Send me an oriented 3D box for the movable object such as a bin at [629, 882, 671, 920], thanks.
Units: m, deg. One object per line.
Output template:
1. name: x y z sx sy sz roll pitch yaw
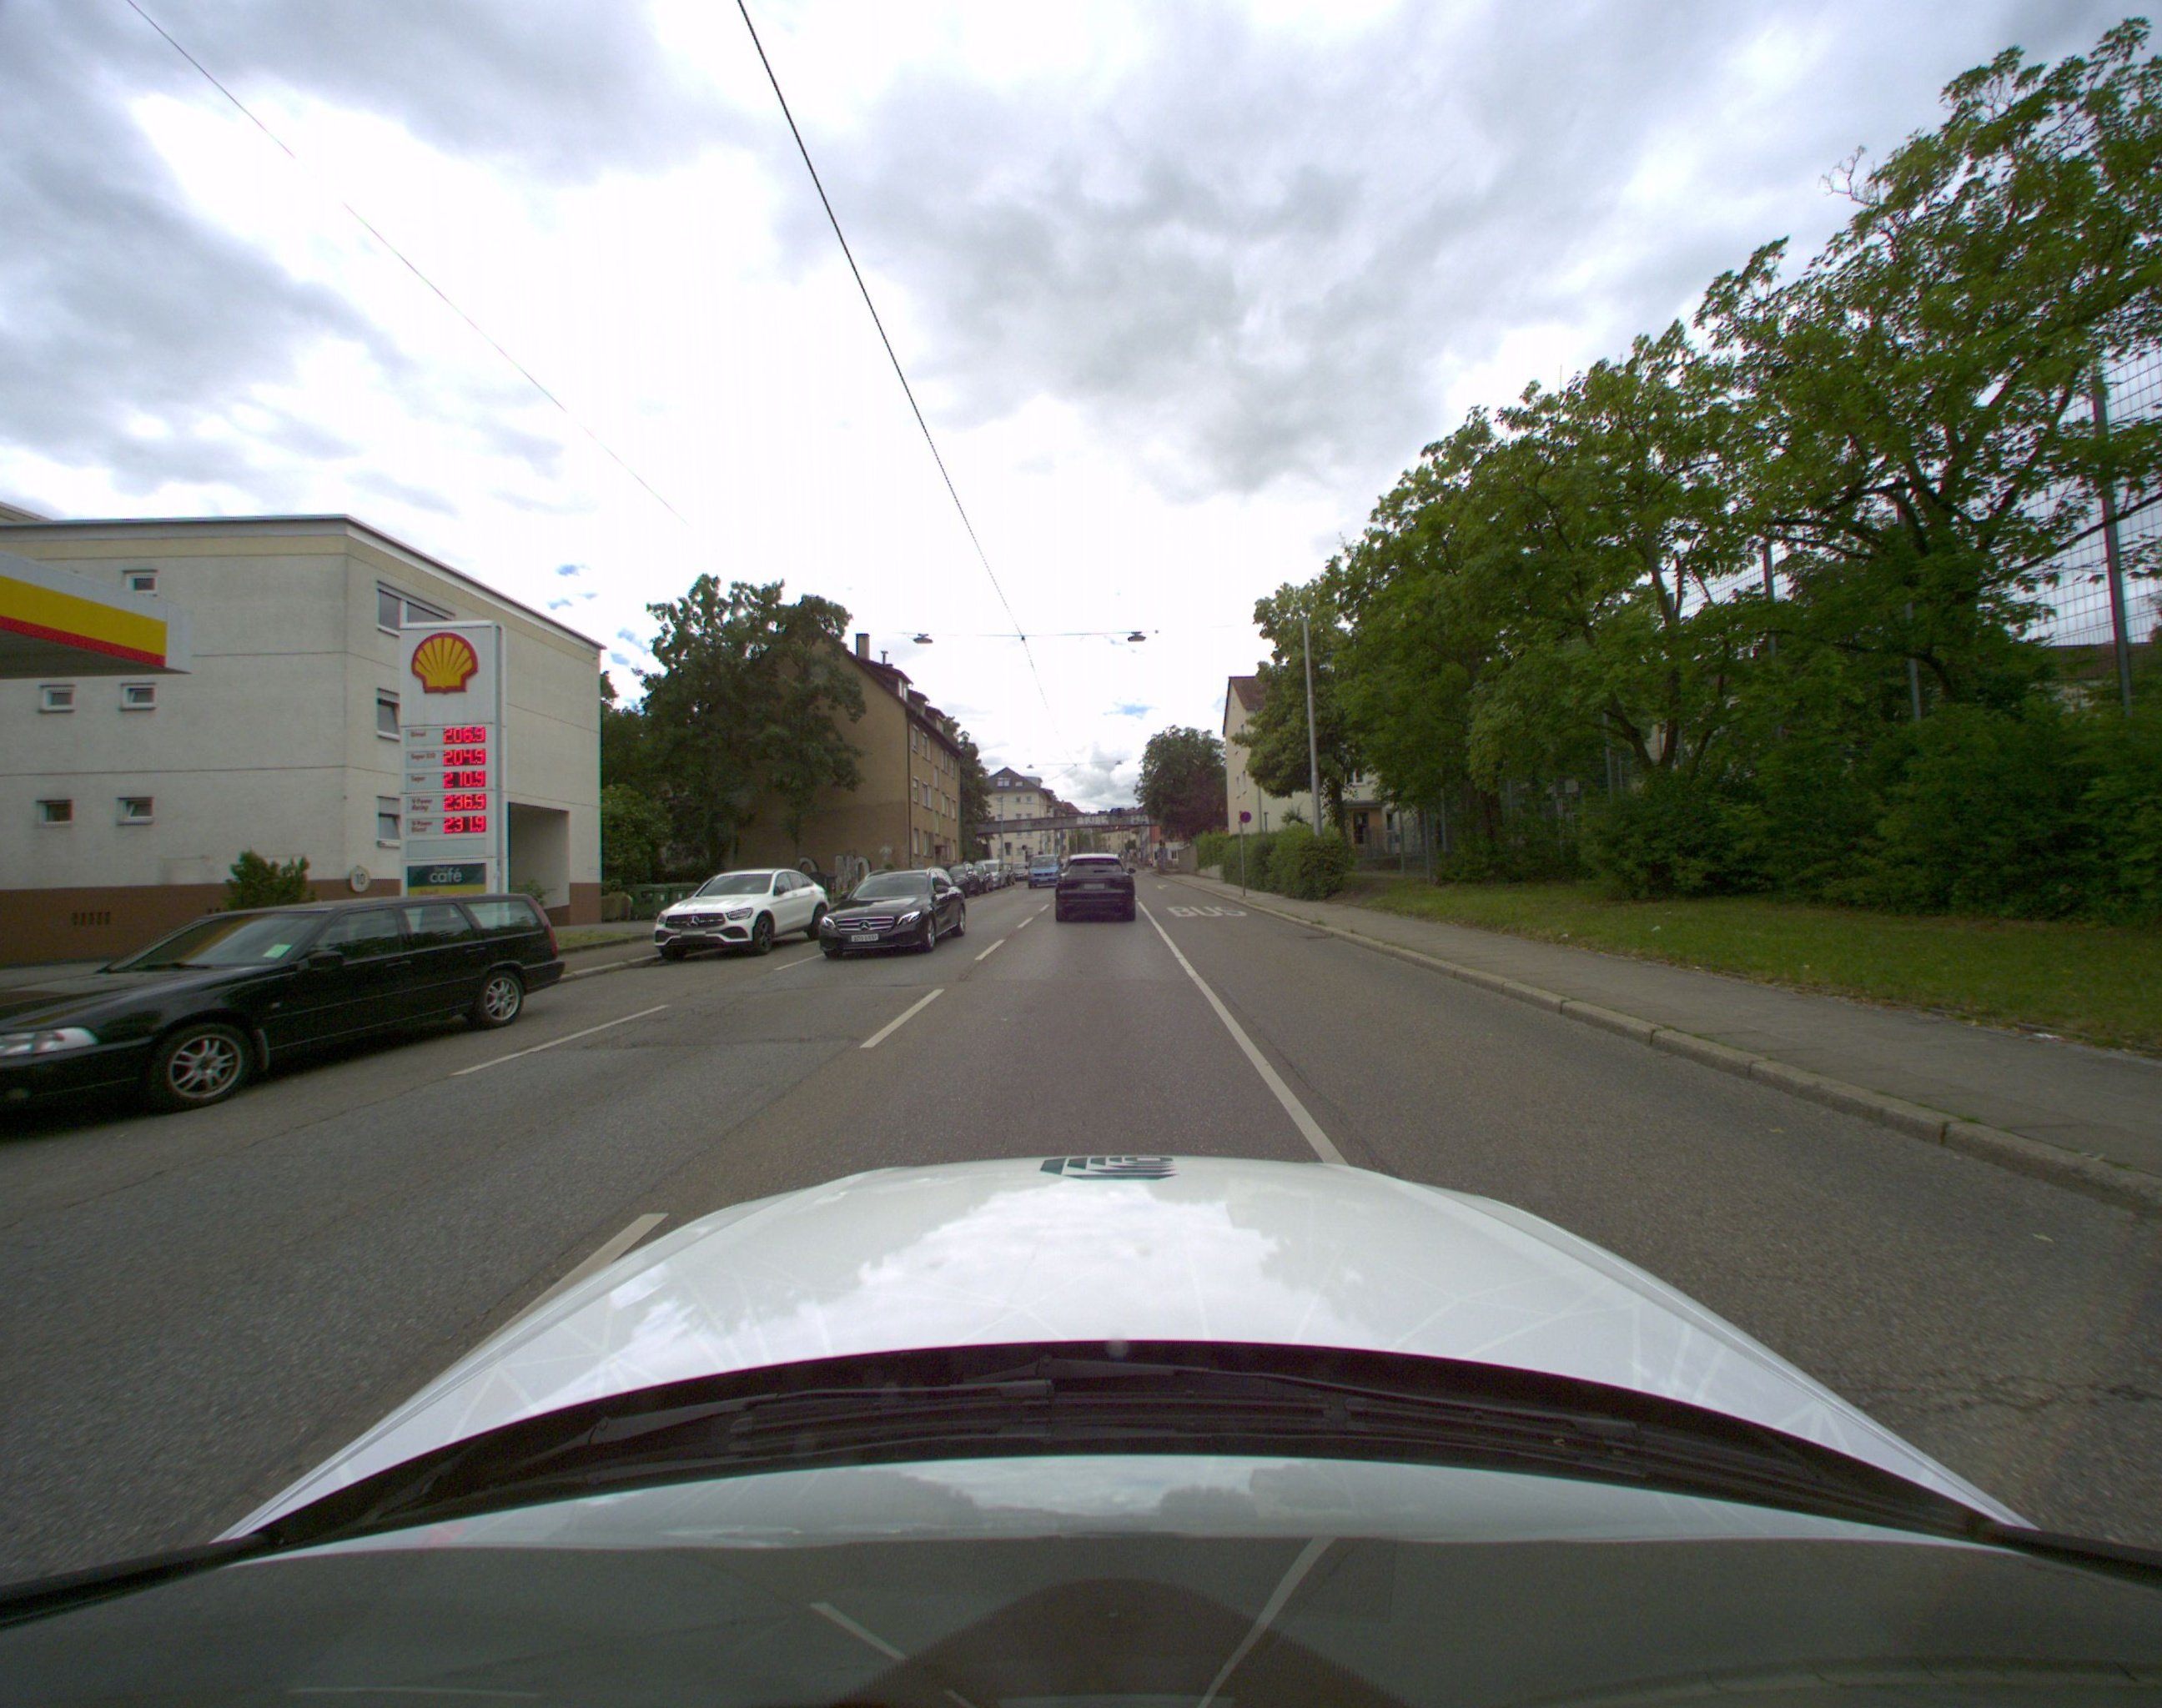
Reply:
1. movable object such as a bin: -17.453 1.898 33.019 0.907 1.428 1.397 -1 0 0

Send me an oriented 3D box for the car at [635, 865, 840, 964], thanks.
1. car: -6.655 1.085 16.459 1.908 1.577 4.702 -3 0 2

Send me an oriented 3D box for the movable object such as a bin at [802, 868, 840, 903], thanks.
1. movable object such as a bin: -11.442 1.374 35.873 1.278 1.428 1.278 -1 0 -3

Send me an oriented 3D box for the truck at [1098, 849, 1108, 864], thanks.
1. truck: 5.212 0.537 192.284 2.258 3.424 9.881 -2 0 2

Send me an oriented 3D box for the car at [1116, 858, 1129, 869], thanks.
1. car: 5.665 1.249 112.290 1.734 1.400 4.002 -1 0 2

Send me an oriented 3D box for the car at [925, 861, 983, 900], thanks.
1. car: -5.930 1.212 38.569 1.775 1.609 4.268 -4 0 3

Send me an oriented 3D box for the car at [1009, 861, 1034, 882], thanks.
1. car: -4.975 1.439 68.348 1.740 1.568 3.907 -3 0 0

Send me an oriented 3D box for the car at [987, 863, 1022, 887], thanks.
1. car: -5.121 1.382 54.841 1.739 1.439 3.914 -3 0 2

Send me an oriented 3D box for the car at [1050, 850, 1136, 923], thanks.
1. car: 0.358 0.753 21.181 1.986 1.662 4.002 -1 0 2

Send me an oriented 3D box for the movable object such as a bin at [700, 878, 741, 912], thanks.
1. movable object such as a bin: -15.959 1.796 36.099 1.388 1.428 0.913 -1 0 -1

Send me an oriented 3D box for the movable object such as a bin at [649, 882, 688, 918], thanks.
1. movable object such as a bin: -17.440 1.913 34.468 0.907 1.428 1.397 -1 0 0

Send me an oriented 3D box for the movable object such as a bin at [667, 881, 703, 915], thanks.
1. movable object such as a bin: -17.440 1.928 35.900 0.907 1.428 1.397 -1 0 0

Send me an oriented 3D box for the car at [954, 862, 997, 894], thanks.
1. car: -5.662 1.253 44.074 1.746 1.530 4.098 -3 0 0

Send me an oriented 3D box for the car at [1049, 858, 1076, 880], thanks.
1. car: -1.462 1.144 64.426 1.833 1.590 4.165 -3 0 2

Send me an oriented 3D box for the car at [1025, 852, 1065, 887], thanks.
1. car: -2.051 0.875 47.654 1.924 1.901 4.591 -2 0 2

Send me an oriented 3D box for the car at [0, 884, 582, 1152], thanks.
1. car: -7.020 1.123 7.349 1.790 1.431 4.748 -3 0 4

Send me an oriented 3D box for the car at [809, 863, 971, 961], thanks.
1. car: -3.394 0.958 15.406 1.771 1.466 4.501 -3 0 2

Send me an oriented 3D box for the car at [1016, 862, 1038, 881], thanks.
1. car: -4.838 1.526 73.215 1.528 1.540 3.983 -3 0 2

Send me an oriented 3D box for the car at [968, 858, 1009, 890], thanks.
1. car: -5.546 1.163 49.422 1.770 1.754 4.559 -3 0 2

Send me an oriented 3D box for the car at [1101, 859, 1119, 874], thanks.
1. car: 2.979 1.312 83.786 1.734 1.400 4.002 -1 0 2
